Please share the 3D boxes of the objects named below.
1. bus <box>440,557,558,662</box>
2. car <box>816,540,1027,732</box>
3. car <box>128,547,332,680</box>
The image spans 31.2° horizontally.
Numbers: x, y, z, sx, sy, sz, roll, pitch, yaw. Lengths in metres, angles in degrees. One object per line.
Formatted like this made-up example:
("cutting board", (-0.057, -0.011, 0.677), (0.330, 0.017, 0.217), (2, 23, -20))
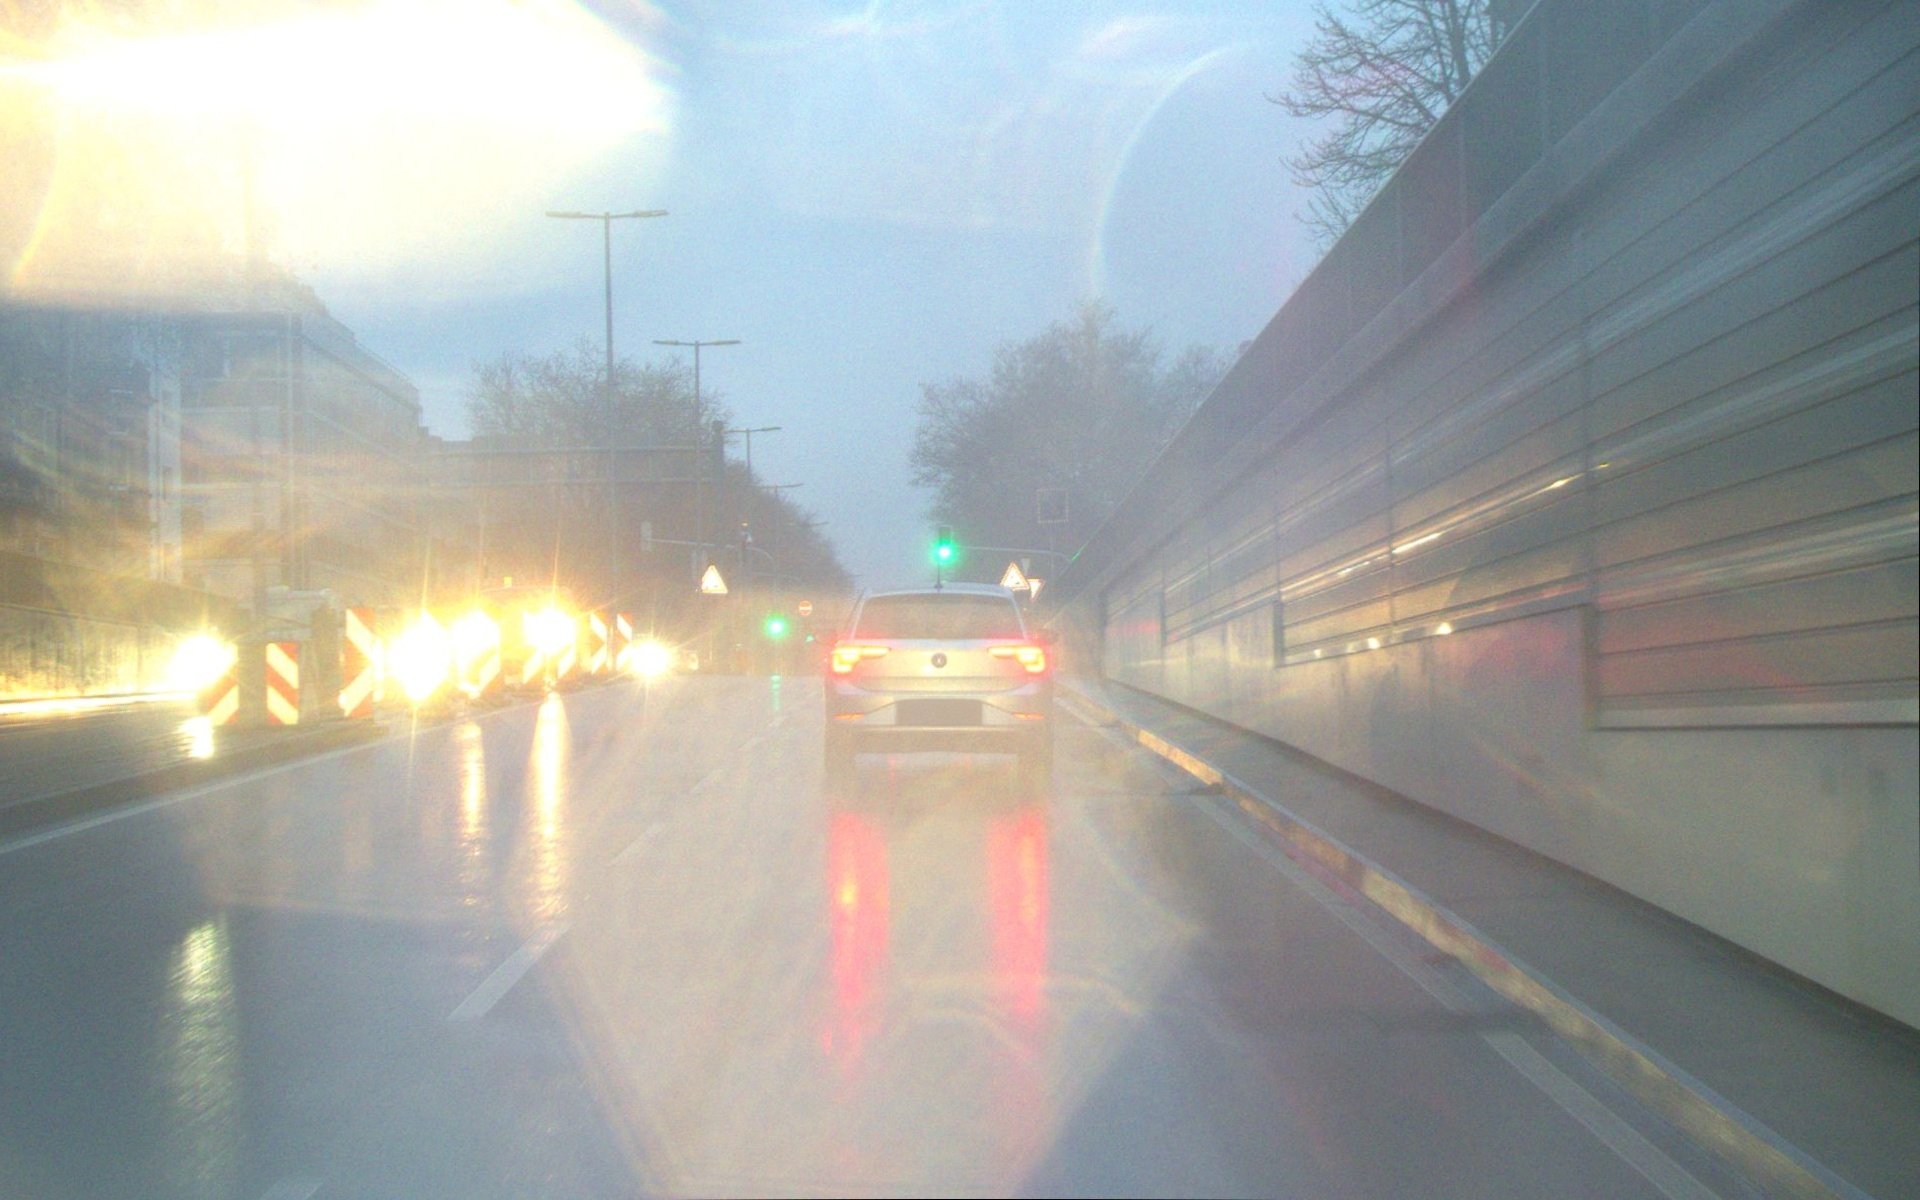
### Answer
("bus", (-9.437, 0.192, 70.674), (1.674, 1.959, 5.175), (-4, 0, -1))
("car", (-0.298, 0.303, 26.794), (1.532, 1.393, 3.433), (0, -1, -1))
("car", (-9.511, 0.144, 45.073), (1.785, 1.587, 3.841), (-3, 1, 0))
